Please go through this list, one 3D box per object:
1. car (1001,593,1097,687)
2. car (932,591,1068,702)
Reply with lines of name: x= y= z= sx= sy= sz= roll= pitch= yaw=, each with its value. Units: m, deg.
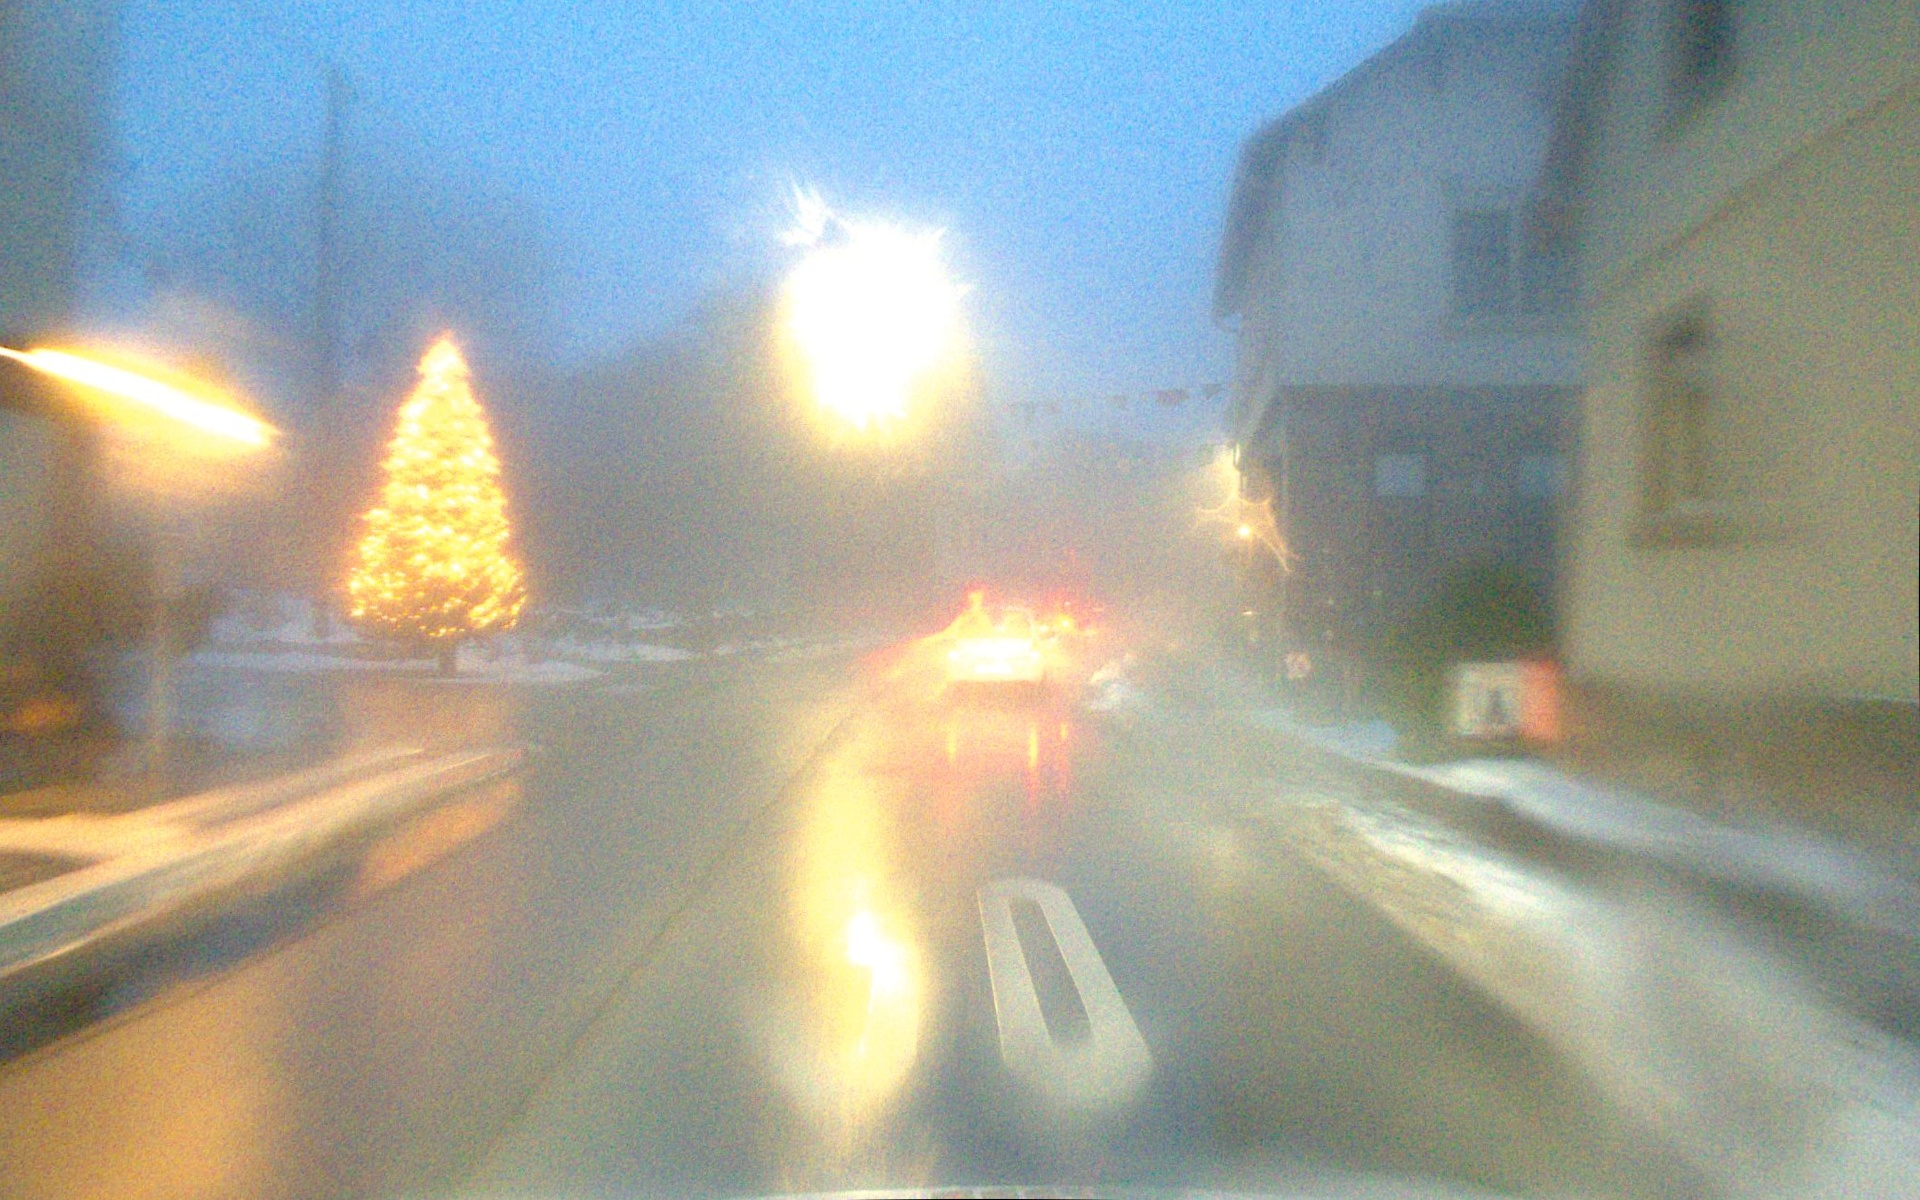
car: x=2.245 y=1.043 z=40.870 sx=1.951 sy=2.049 sz=4.002 roll=4 pitch=-3 yaw=7
car: x=0.699 y=0.802 z=26.951 sx=1.952 sy=1.534 sz=4.000 roll=4 pitch=-3 yaw=3
